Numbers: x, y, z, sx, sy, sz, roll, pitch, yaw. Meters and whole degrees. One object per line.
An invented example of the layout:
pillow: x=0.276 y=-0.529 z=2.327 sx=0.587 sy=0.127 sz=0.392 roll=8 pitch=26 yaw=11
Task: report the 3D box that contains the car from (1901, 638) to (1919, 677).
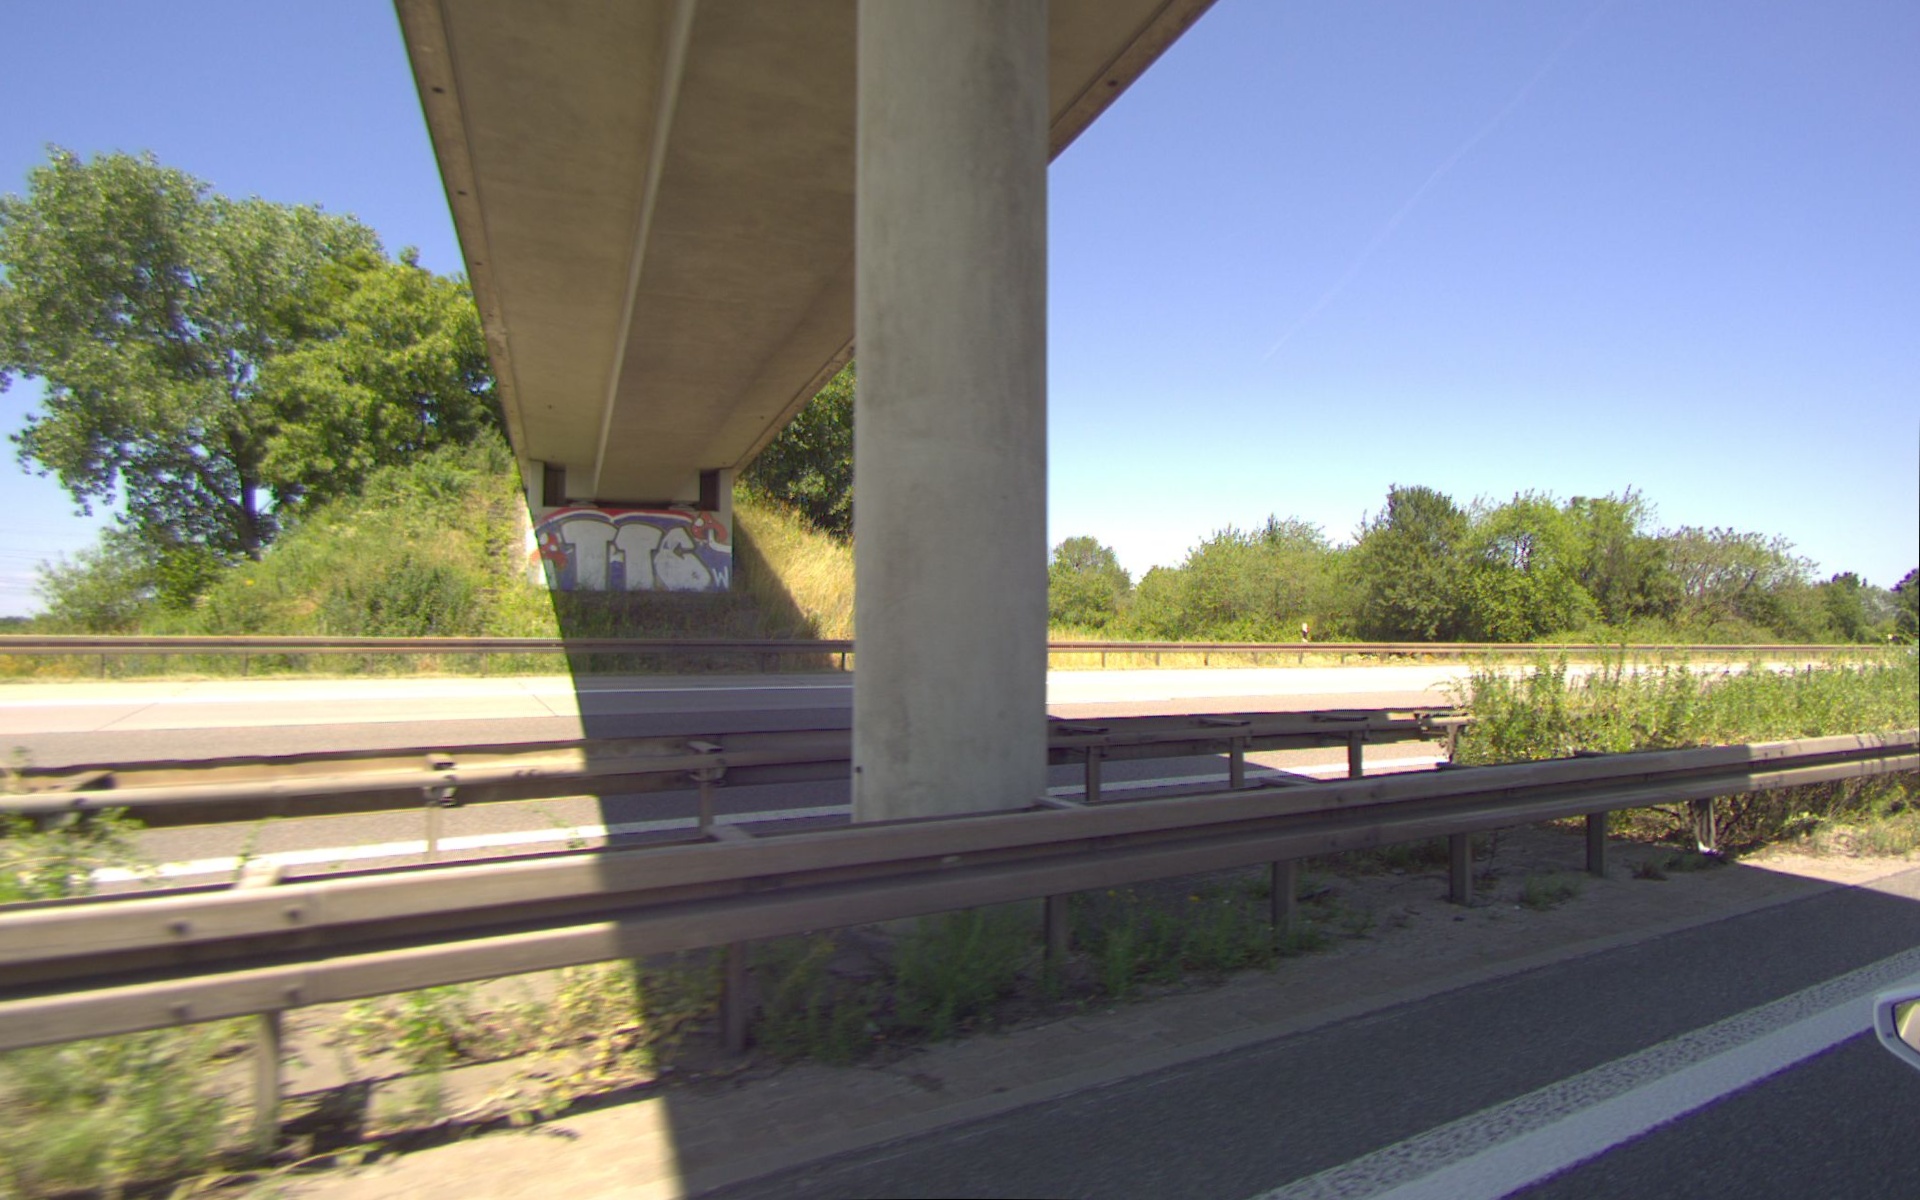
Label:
car: x=42.132 y=2.464 z=42.948 sx=4.354 sy=1.595 sz=1.702 roll=2 pitch=-2 yaw=-32
